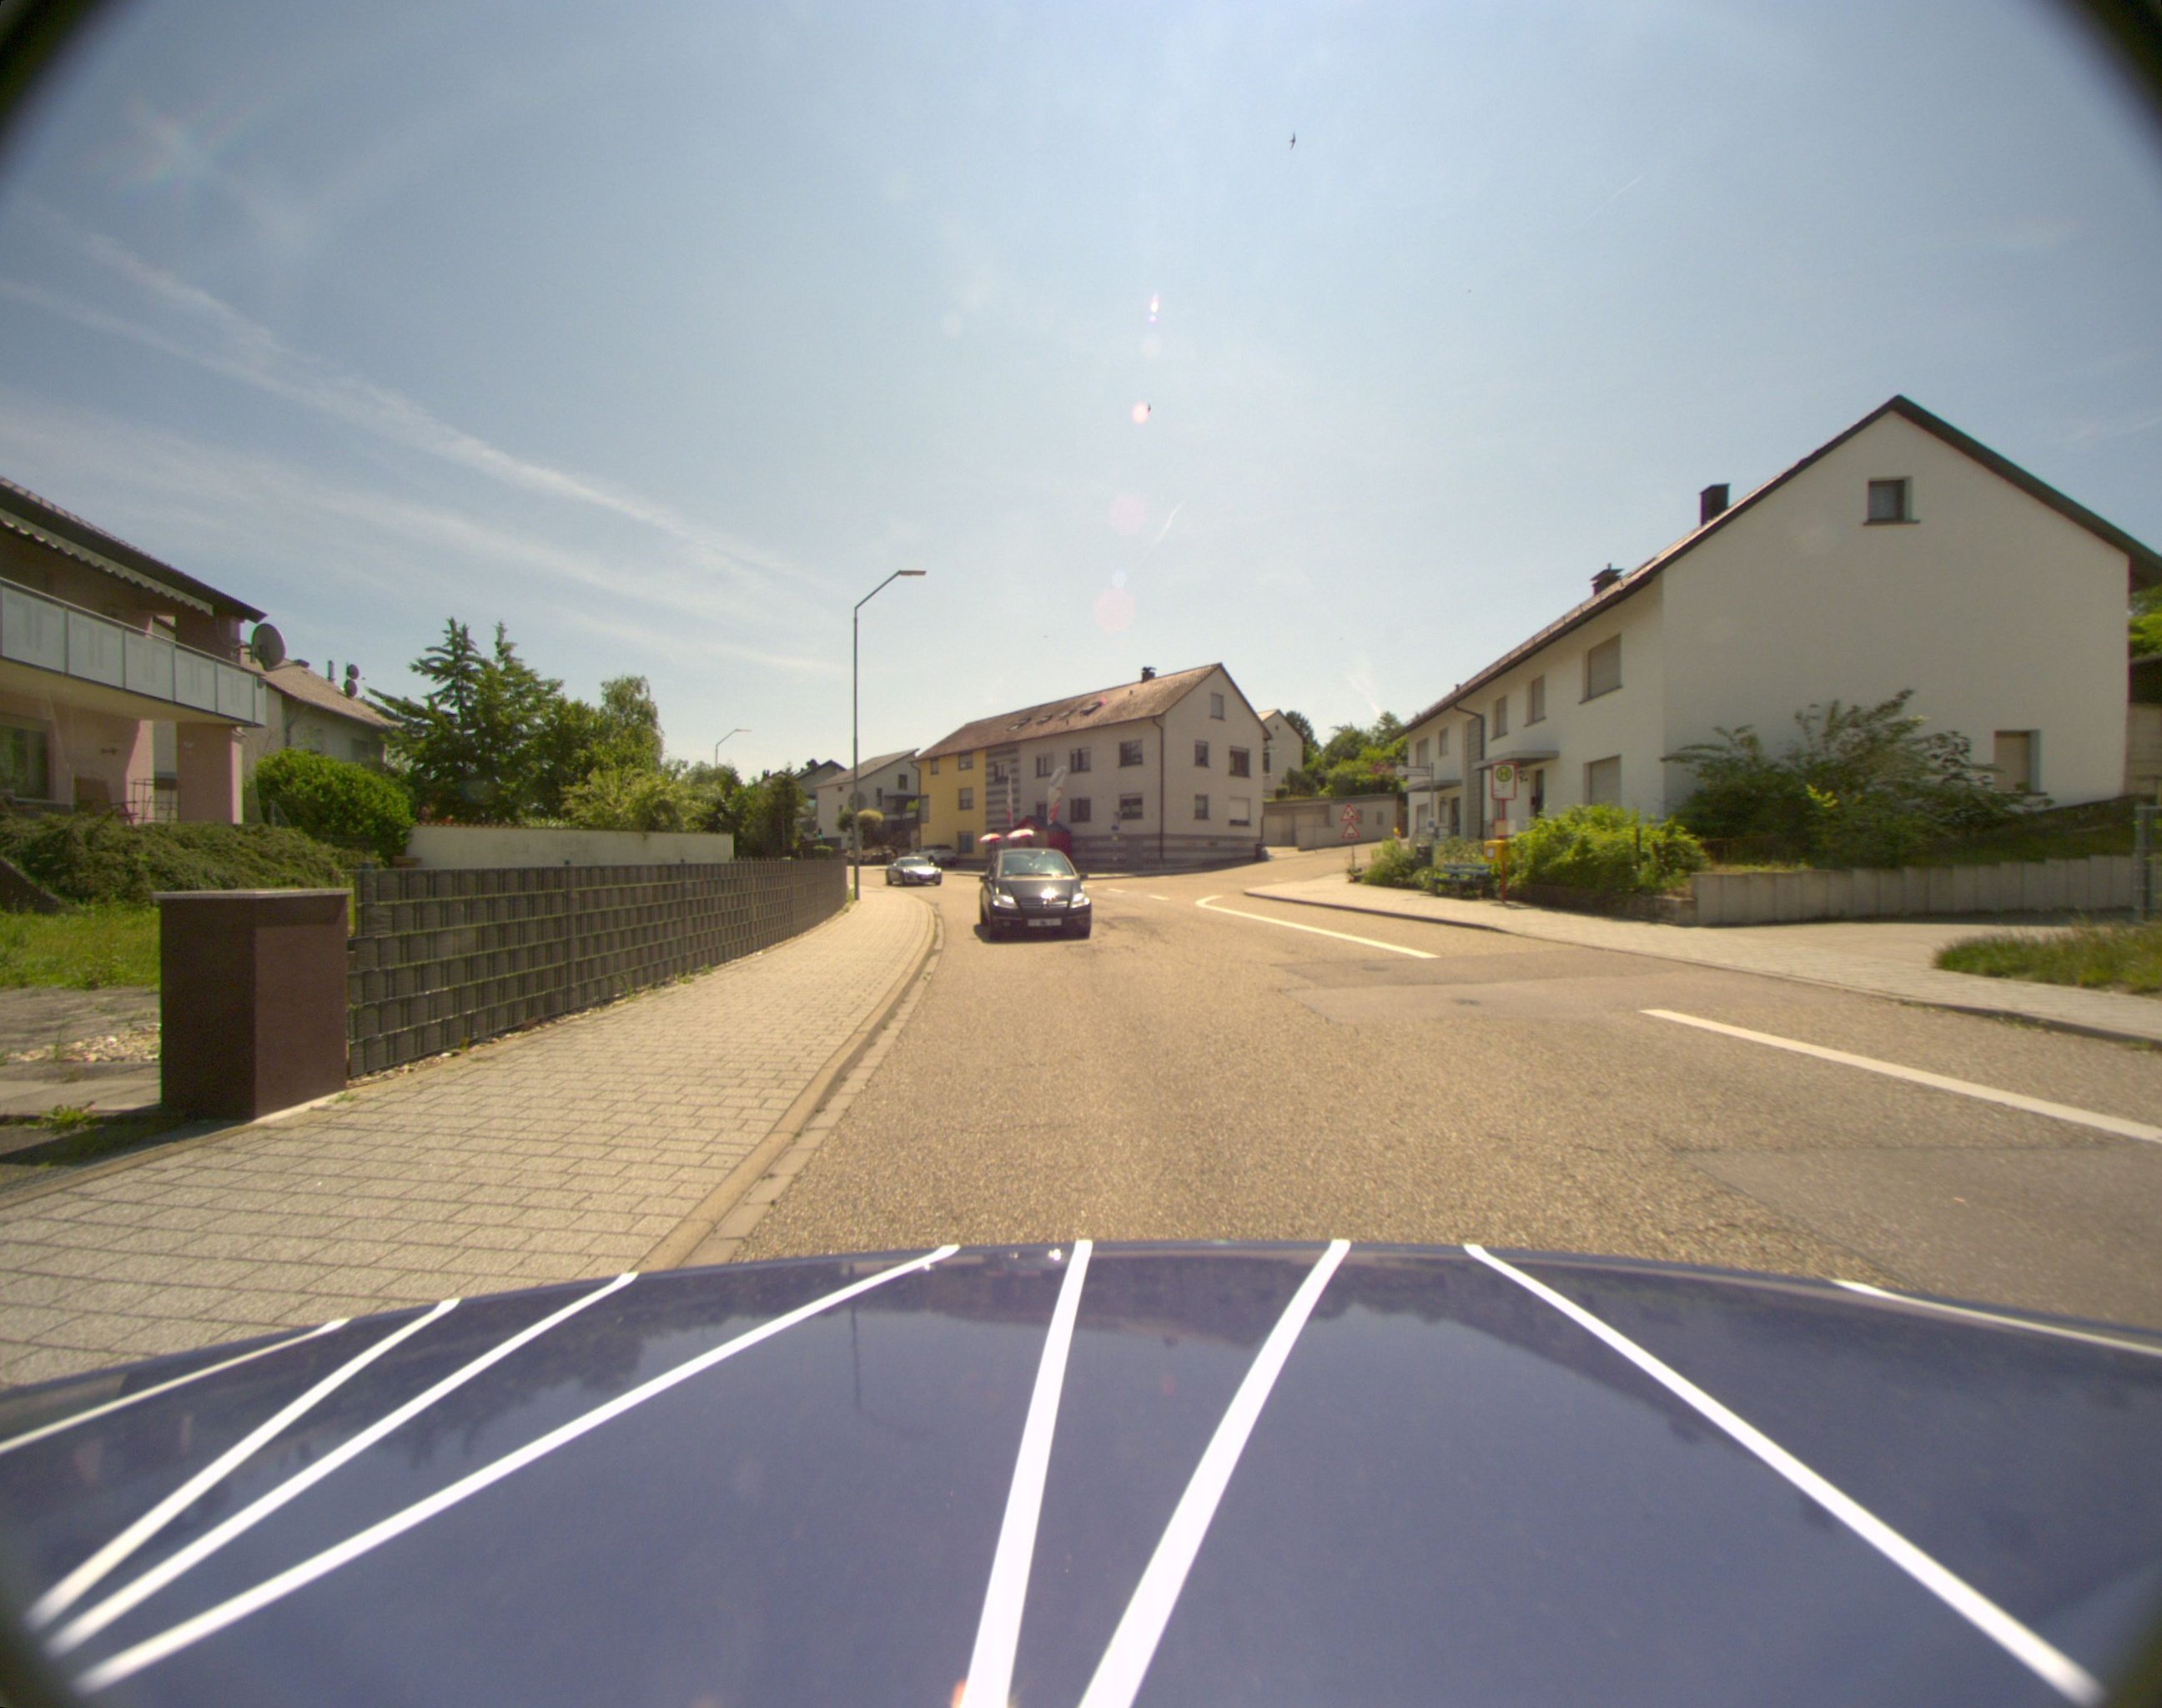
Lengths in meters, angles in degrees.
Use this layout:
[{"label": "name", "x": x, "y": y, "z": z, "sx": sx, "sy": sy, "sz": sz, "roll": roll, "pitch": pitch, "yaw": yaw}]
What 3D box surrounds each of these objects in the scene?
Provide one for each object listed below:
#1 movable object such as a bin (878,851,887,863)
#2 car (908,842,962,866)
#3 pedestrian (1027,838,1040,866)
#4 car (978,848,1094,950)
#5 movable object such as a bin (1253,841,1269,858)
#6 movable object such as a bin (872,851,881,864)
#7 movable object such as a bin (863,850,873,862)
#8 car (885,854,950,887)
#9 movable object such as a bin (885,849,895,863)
[{"label": "movable object such as a bin", "x": -15.354, "y": 0.247, "z": 58.874, "sx": 0.449, "sy": 0.933, "sz": 0.529, "roll": -2, "pitch": 2, "yaw": -43}, {"label": "car", "x": -9.934, "y": -0.053, "z": 51.494, "sx": 1.739, "sy": 1.543, "sz": 4.176, "roll": -2, "pitch": 2, "yaw": -42}, {"label": "pedestrian", "x": -2.744, "y": -0.120, "z": 43.678, "sx": 0.613, "sy": 1.578, "sz": 0.808, "roll": -1, "pitch": 1, "yaw": -9}, {"label": "car", "x": -1.012, "y": 0.729, "z": 14.754, "sx": 1.766, "sy": 1.583, "sz": 4.193, "roll": -1, "pitch": 2, "yaw": -10}, {"label": "movable object such as a bin", "x": 9.646, "y": -0.236, "z": 40.772, "sx": 0.601, "sy": 0.929, "sz": 0.599, "roll": -1, "pitch": 1, "yaw": -44}, {"label": "movable object such as a bin", "x": -15.712, "y": 0.271, "z": 58.502, "sx": 0.449, "sy": 0.923, "sz": 0.560, "roll": -2, "pitch": 2, "yaw": -43}, {"label": "movable object such as a bin", "x": -16.253, "y": 0.158, "z": 58.038, "sx": 0.503, "sy": 0.943, "sz": 0.552, "roll": -2, "pitch": 2, "yaw": -43}, {"label": "car", "x": -7.322, "y": 0.693, "z": 33.781, "sx": 1.817, "sy": 1.307, "sz": 3.991, "roll": -1, "pitch": 1, "yaw": -27}, {"label": "movable object such as a bin", "x": -14.902, "y": 0.159, "z": 59.194, "sx": 0.473, "sy": 1.049, "sz": 0.632, "roll": -3, "pitch": 3, "yaw": -43}]
